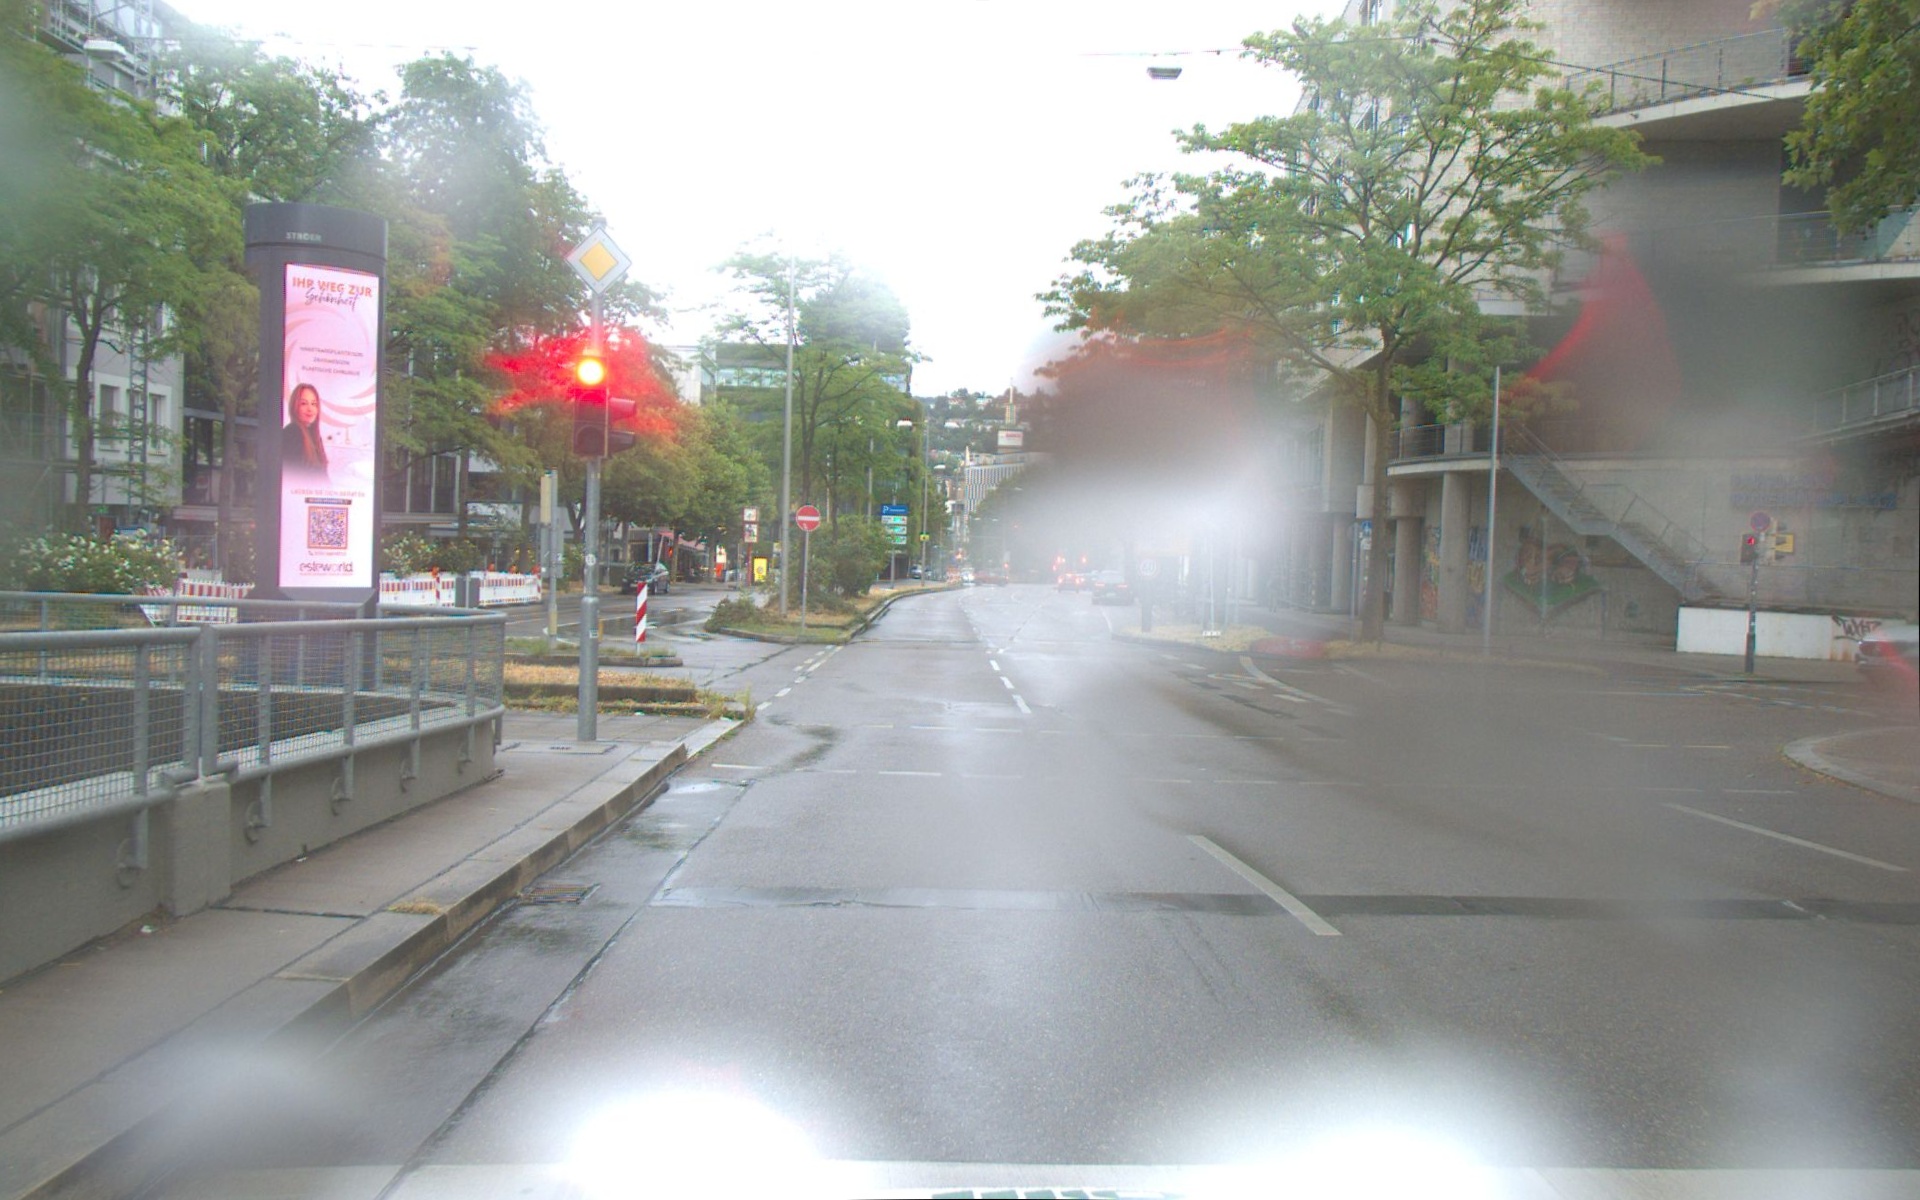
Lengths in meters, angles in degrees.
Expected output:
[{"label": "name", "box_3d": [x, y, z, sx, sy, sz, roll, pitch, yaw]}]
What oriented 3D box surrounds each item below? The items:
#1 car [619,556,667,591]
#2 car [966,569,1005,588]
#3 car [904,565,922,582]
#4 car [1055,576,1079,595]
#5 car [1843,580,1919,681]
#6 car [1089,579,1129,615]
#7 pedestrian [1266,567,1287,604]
[{"label": "car", "box_3d": [-16.063, -1.369, 83.904, 1.744, 1.582, 3.893, 2, 2, -1]}, {"label": "car", "box_3d": [2.766, -2.360, 181.059, 3.940, 1.953, 1.879, 2, 0, -13]}, {"label": "car", "box_3d": [-6.396, -3.558, 224.961, 2.084, 2.202, 5.198, 2, 0, 2]}, {"label": "car", "box_3d": [8.896, -1.198, 137.783, 1.710, 1.545, 4.106, 2, 0, -1]}, {"label": "car", "box_3d": [18.195, 0.599, 29.451, 4.267, 1.713, 1.746, 2, -1, -12]}, {"label": "car", "box_3d": [7.586, -0.174, 84.498, 1.861, 1.713, 3.912, 2, 0, 3]}, {"label": "pedestrian", "box_3d": [13.683, -0.628, 71.483, 0.769, 1.584, 0.533, 2, 0, 4]}]
